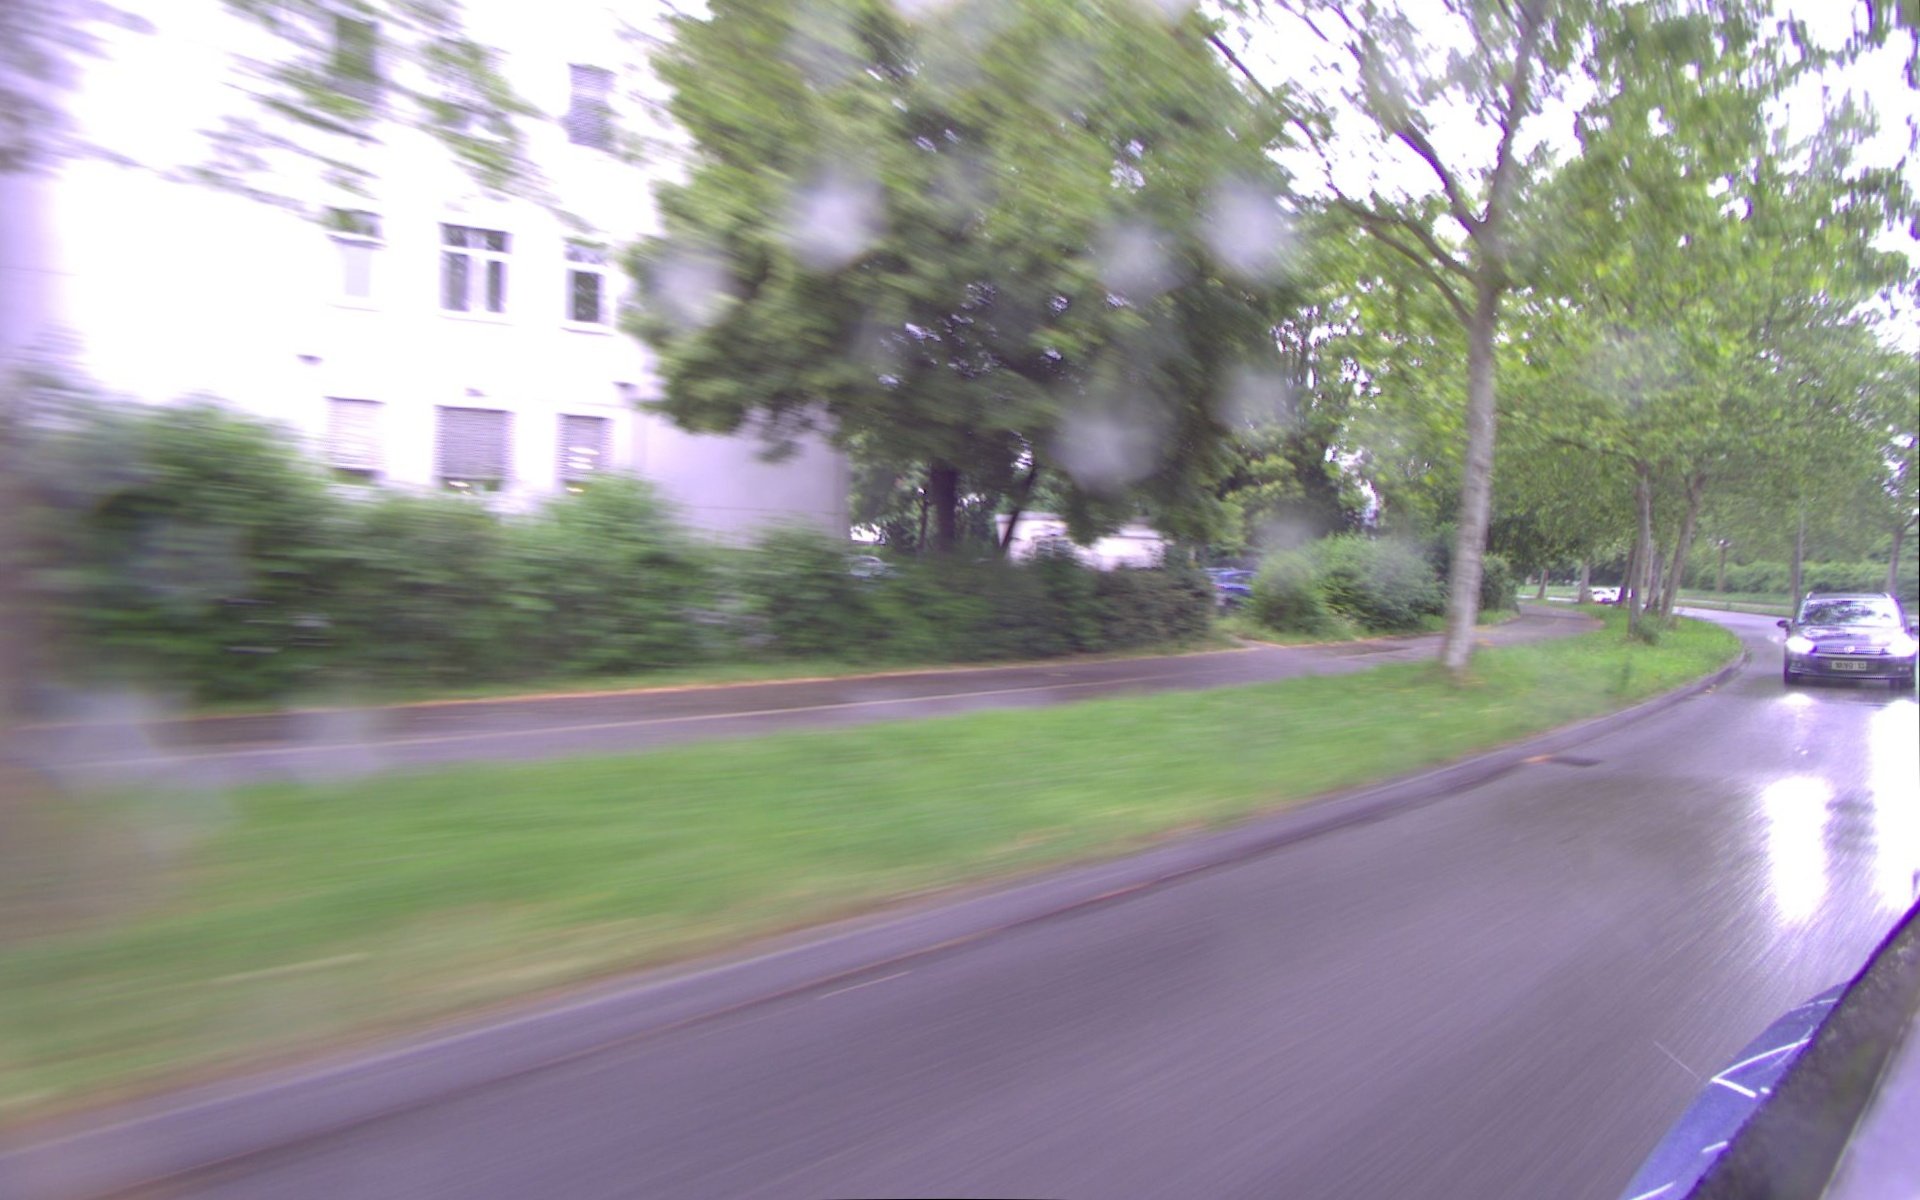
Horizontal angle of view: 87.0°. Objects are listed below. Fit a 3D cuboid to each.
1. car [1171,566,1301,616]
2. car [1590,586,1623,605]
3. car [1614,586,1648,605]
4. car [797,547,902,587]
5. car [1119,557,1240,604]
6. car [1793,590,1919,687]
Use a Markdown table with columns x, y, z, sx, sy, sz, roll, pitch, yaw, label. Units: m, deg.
| x | y | z | sx | sy | sz | roll | pitch | yaw | label |
| --- | --- | --- | --- | --- | --- | --- | --- | --- | --- |
| 8.092 | -0.258 | 29.634 | 3.632 | 1.375 | 1.600 | 0 | 1 | -30 | car |
| 54.564 | -0.408 | 85.425 | 1.766 | 1.575 | 3.967 | 1 | 1 | 24 | car |
| 58.738 | -0.393 | 88.606 | 1.765 | 1.575 | 3.969 | 1 | 1 | 23 | car |
| -3.993 | -1.162 | 37.025 | 1.593 | 1.375 | 3.647 | 1 | 1 | 44 | car |
| 7.017 | -0.619 | 32.316 | 3.632 | 1.438 | 1.600 | 0 | 1 | -30 | car |
| 16.581 | 0.616 | 18.603 | 1.779 | 1.575 | 3.939 | 0 | 1 | 42 | car |
